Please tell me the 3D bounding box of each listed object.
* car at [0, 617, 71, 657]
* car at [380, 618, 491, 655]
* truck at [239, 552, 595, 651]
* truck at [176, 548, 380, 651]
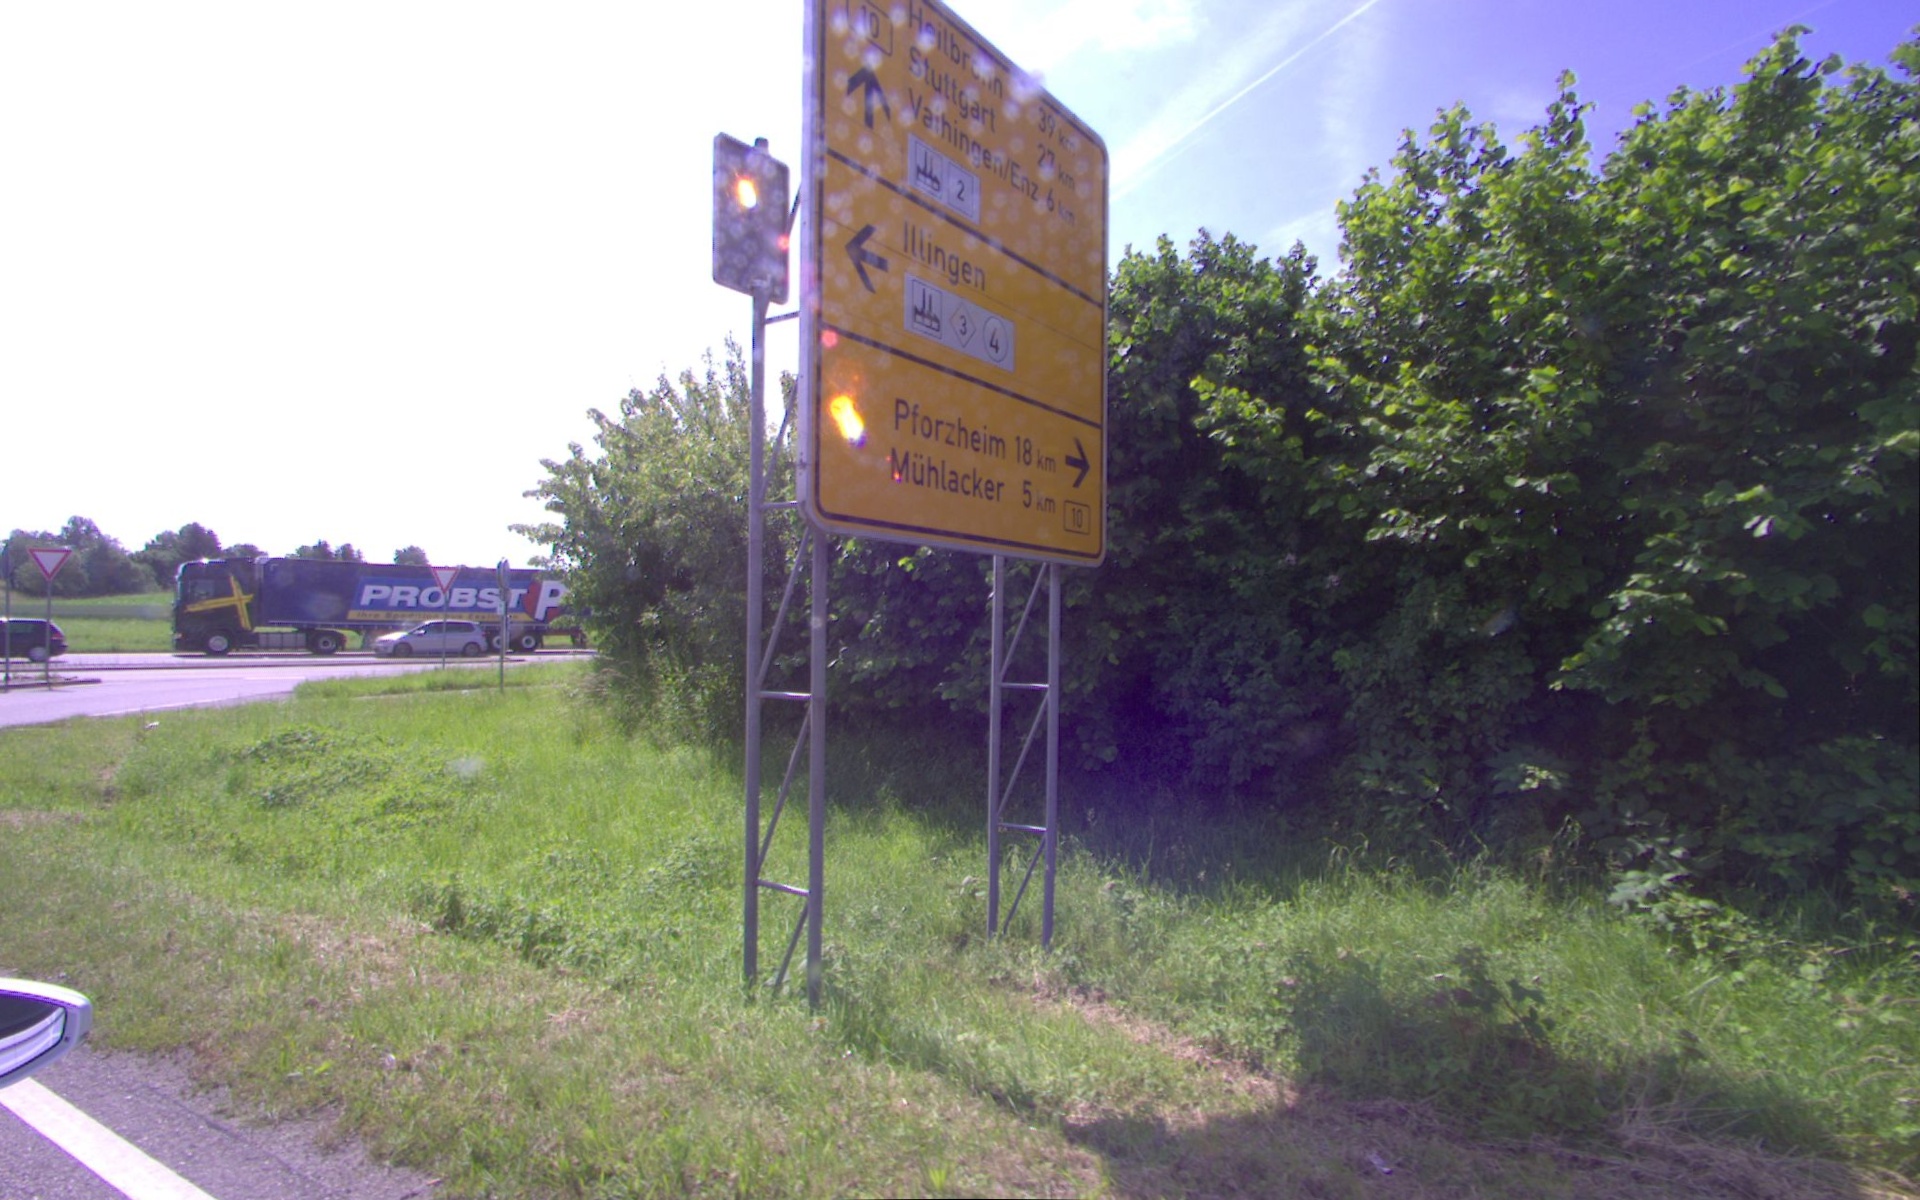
[{"bbox_3d":[-32.476,1.238,33.532,3.963,1.327,1.749,2,-3,-45],"label":"car"},{"bbox_3d":[-22.190,1.555,42.451,3.967,1.510,1.524,1,-2,-42],"label":"car"},{"bbox_3d":[-24.584,0.268,46.408,14.167,4.031,3.003,2,-1,-39],"label":"truck"},{"bbox_3d":[-28.983,0.096,42.730,6.880,4.046,3.000,2,-1,-41],"label":"truck"}]
